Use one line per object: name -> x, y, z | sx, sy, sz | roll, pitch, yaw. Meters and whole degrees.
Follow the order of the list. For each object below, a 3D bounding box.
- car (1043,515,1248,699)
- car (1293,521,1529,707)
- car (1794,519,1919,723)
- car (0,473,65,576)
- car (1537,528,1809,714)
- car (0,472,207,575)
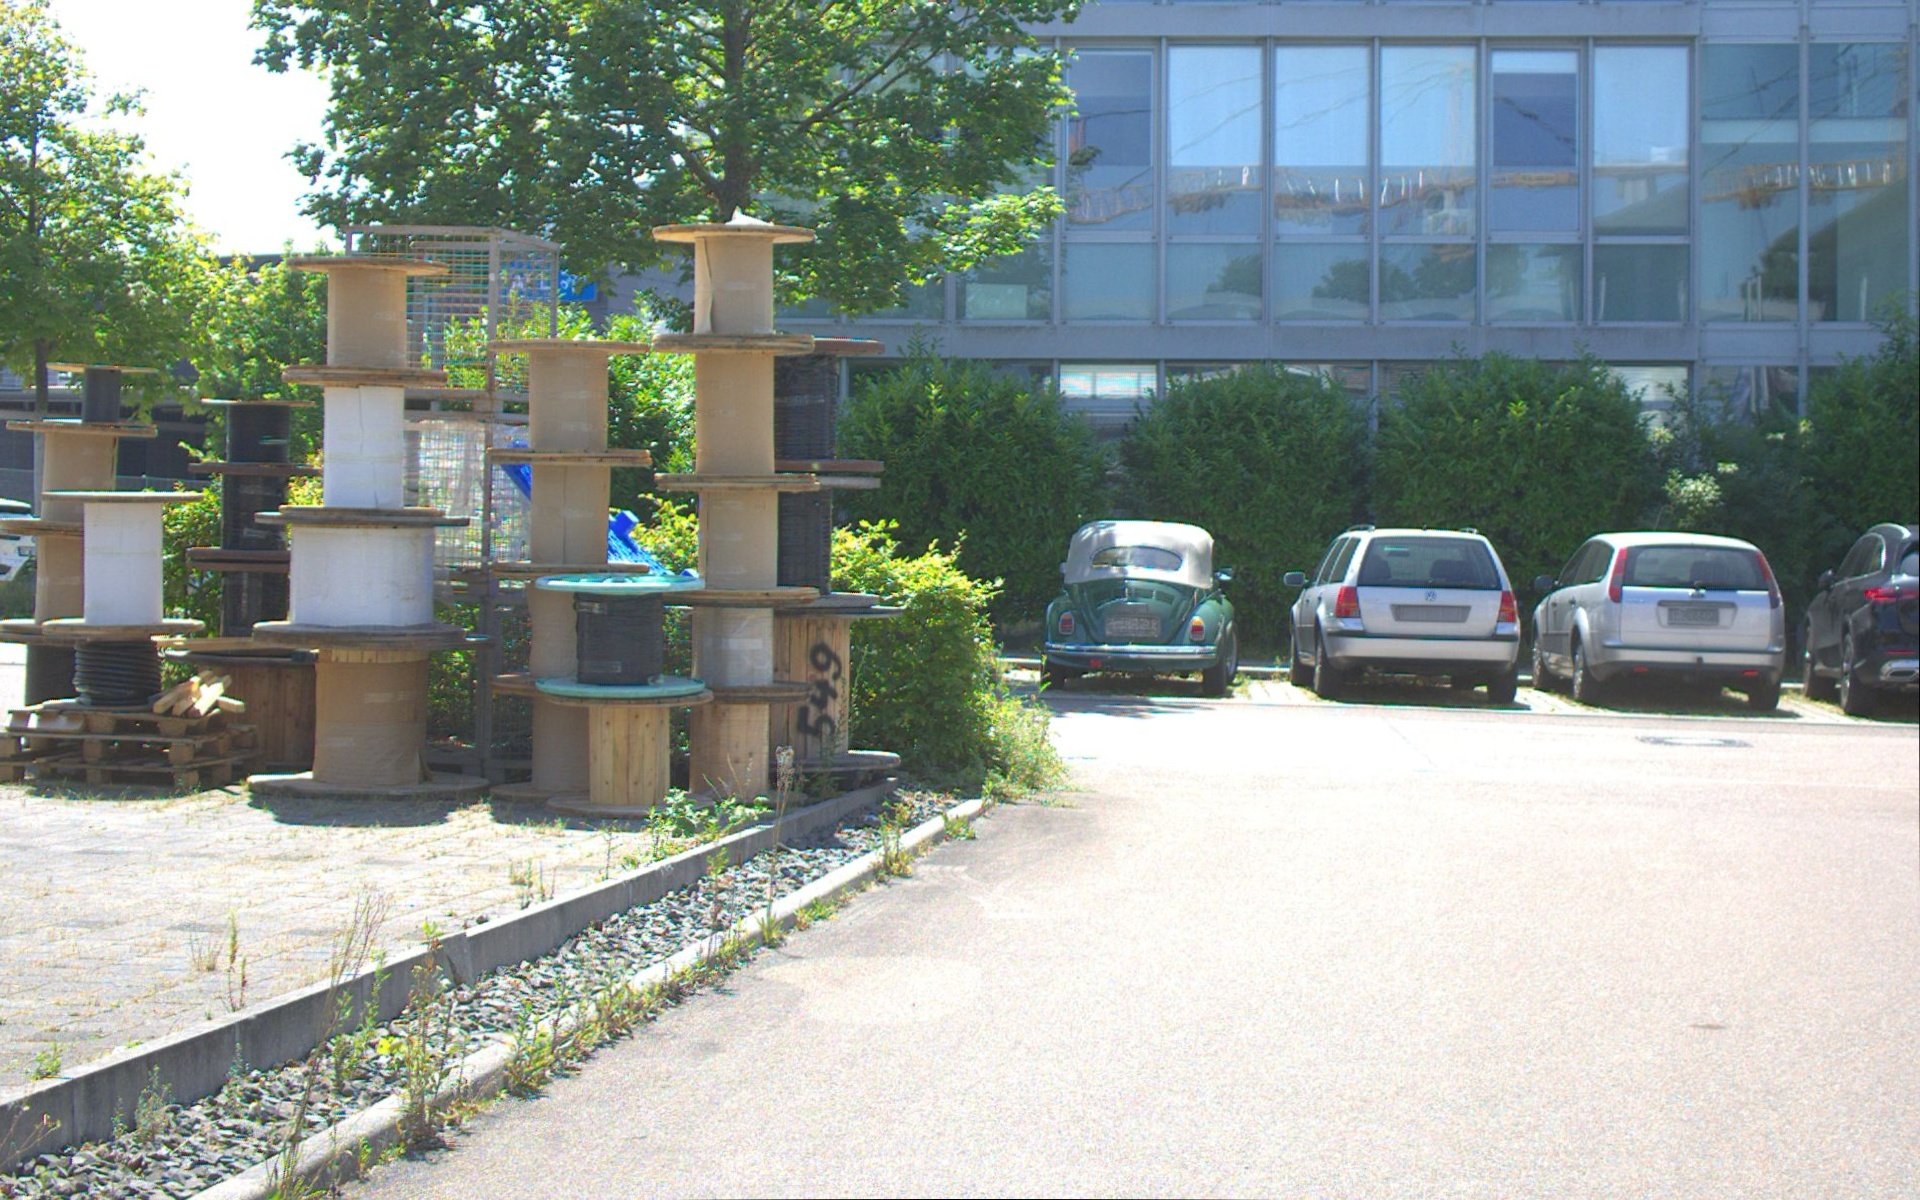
car -> 1.687, 0.012, 30.333 | 1.542, 1.444, 3.653 | 2, 2, 7
car -> 3.908, 0.073, 30.271 | 1.732, 1.444, 3.654 | 2, 2, 3
car -> 8.475, 0.143, 29.829 | 1.927, 1.605, 3.986 | 2, 2, 7
car -> -15.935, -1.178, 51.153 | 4.844, 1.486, 1.998 | 2, 2, 23
car -> 6.219, 0.136, 30.361 | 1.765, 1.444, 3.654 | 2, 2, 3
car -> -14.411, -1.231, 53.826 | 4.844, 1.486, 1.998 | 2, 2, 23
